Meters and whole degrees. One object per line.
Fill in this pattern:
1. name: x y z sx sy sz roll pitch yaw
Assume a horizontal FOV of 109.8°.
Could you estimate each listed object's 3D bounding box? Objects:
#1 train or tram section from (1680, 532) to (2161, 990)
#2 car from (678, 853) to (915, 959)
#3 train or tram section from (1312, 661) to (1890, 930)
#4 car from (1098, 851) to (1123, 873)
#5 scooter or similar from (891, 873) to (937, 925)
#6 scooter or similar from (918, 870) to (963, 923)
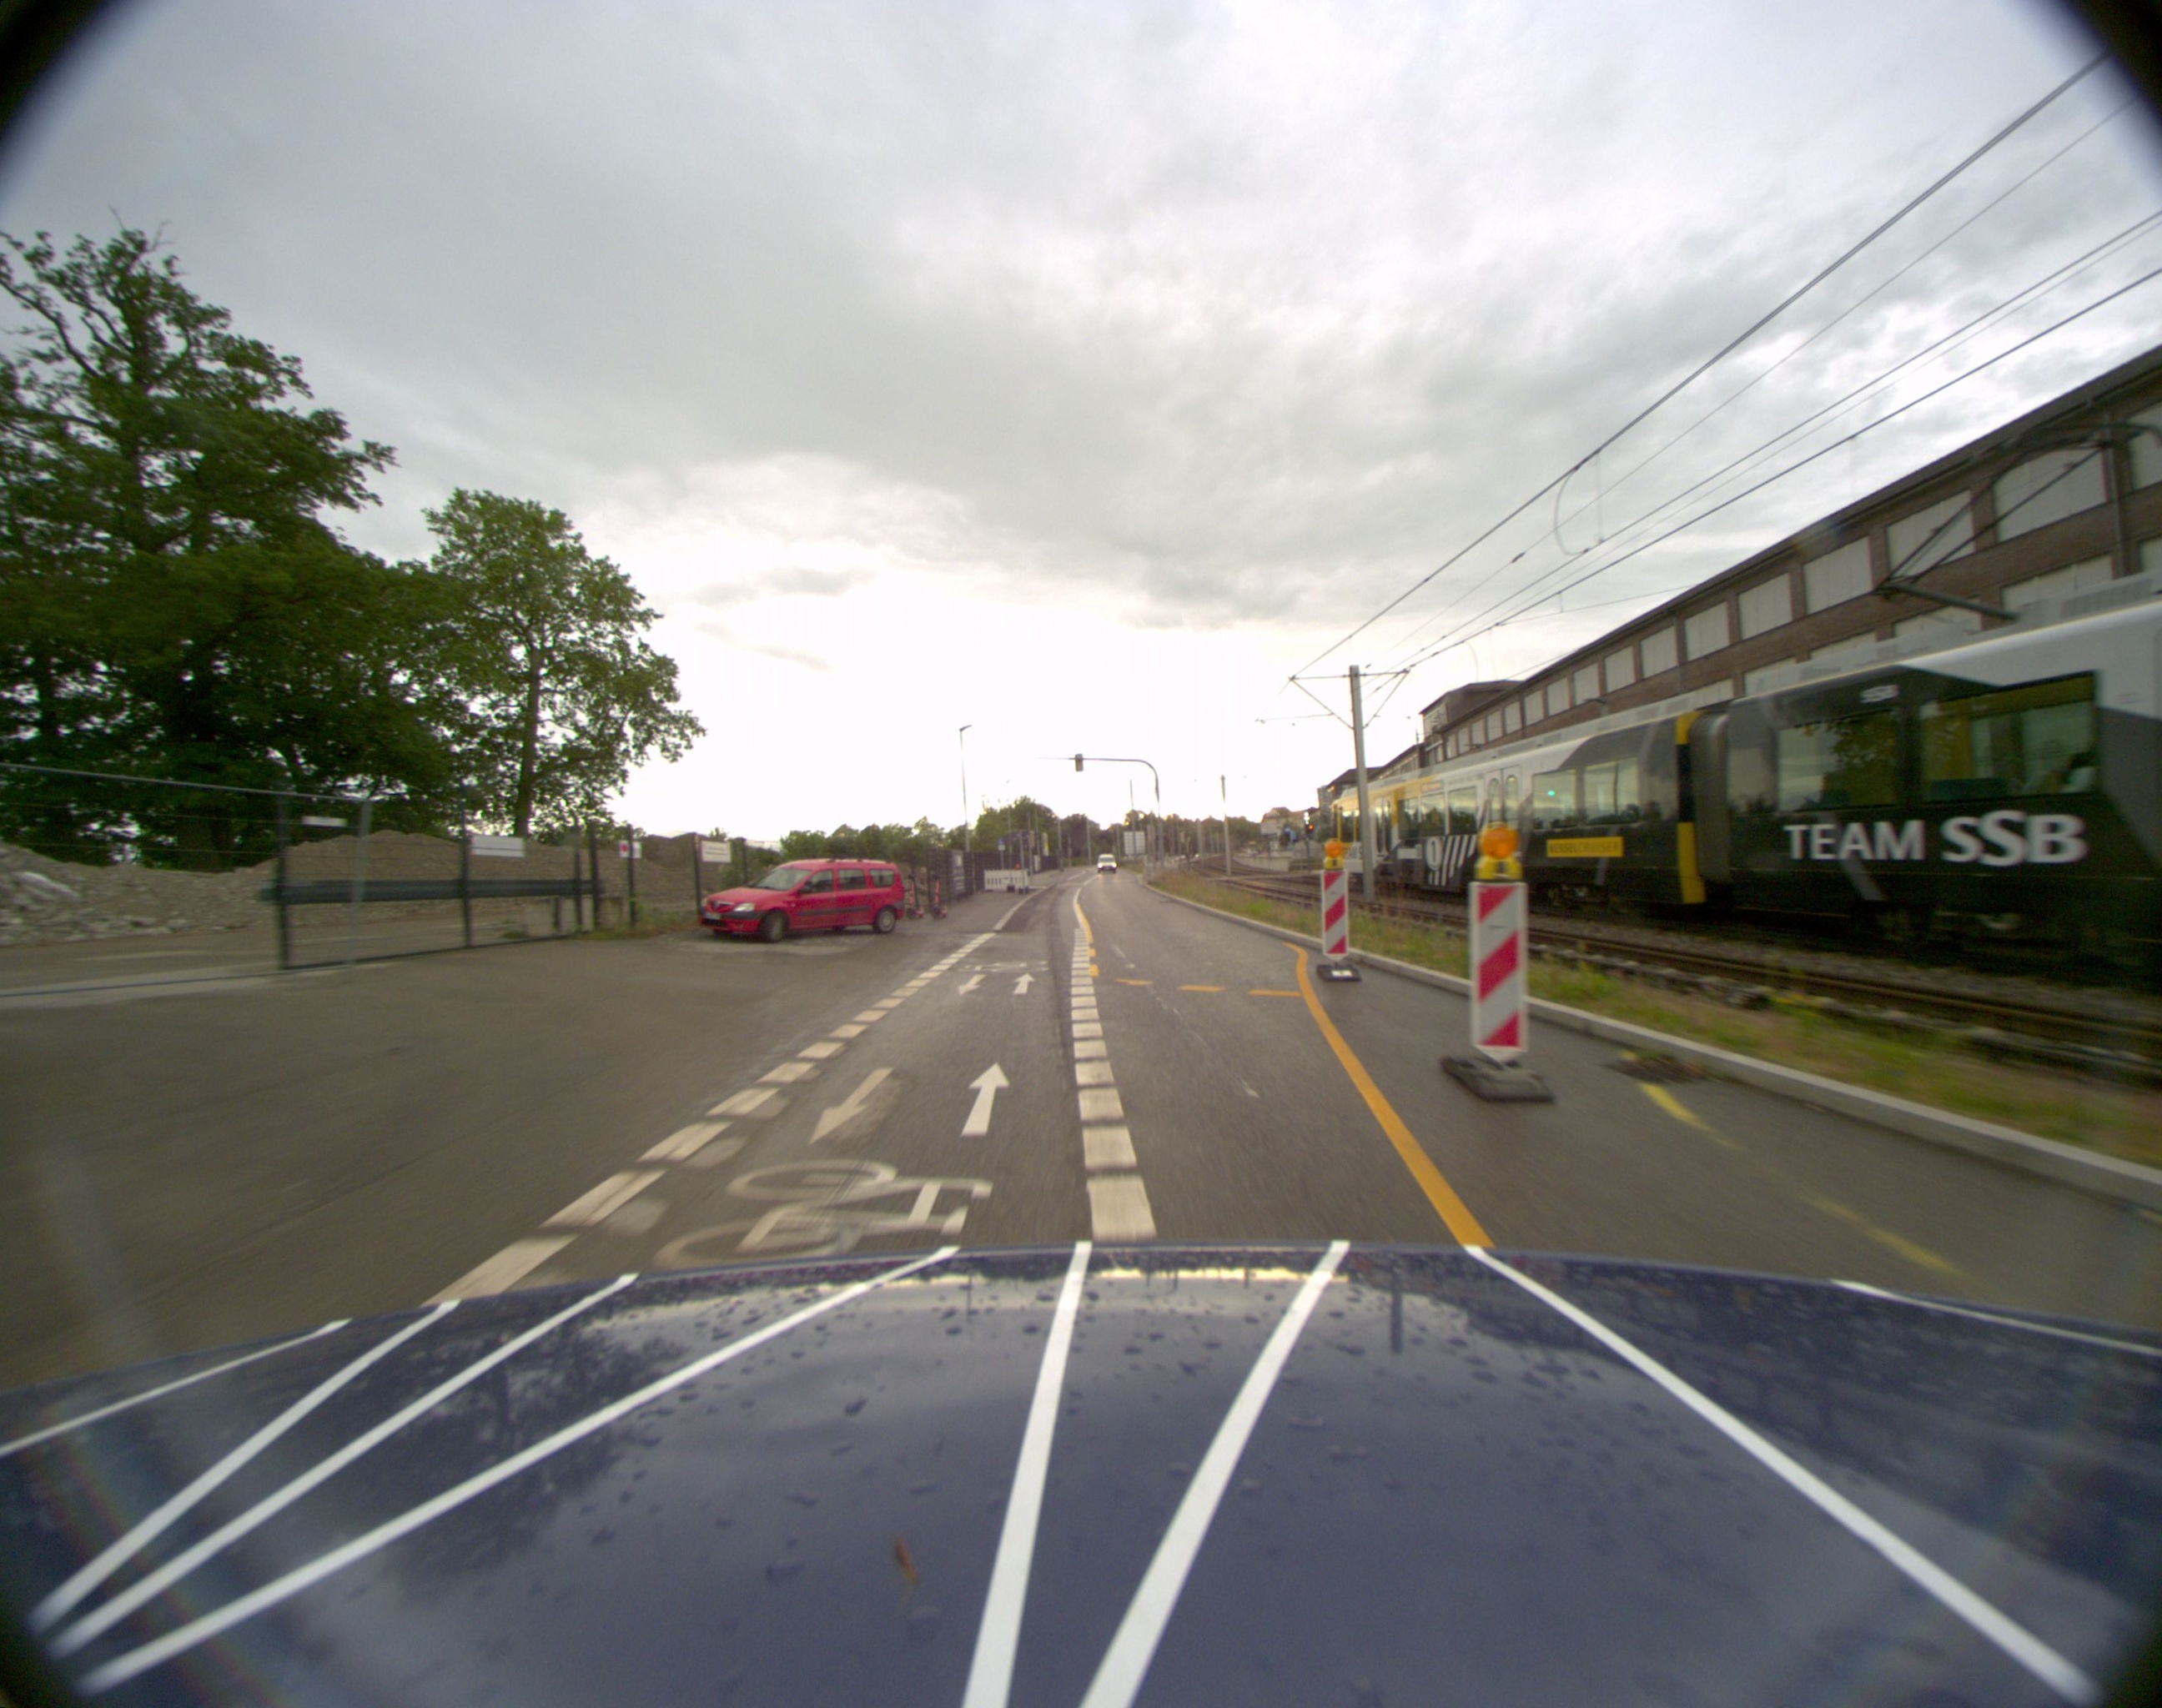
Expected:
1. train or tram section: 10.616 -0.836 1.858 2.962 3.863 19.288 -4 0 0
2. car: -5.770 0.964 16.001 1.821 1.783 4.416 -3 0 31
3. train or tram section: 10.860 -0.958 21.302 2.962 3.863 19.571 -4 0 1
4. car: 2.909 0.720 75.255 1.999 2.002 3.998 -2 1 -3
5. scooter or similar: -4.724 1.246 21.612 0.616 1.343 1.913 -3 0 7
6. scooter or similar: -3.925 1.153 21.371 0.616 1.343 1.913 -3 0 7
